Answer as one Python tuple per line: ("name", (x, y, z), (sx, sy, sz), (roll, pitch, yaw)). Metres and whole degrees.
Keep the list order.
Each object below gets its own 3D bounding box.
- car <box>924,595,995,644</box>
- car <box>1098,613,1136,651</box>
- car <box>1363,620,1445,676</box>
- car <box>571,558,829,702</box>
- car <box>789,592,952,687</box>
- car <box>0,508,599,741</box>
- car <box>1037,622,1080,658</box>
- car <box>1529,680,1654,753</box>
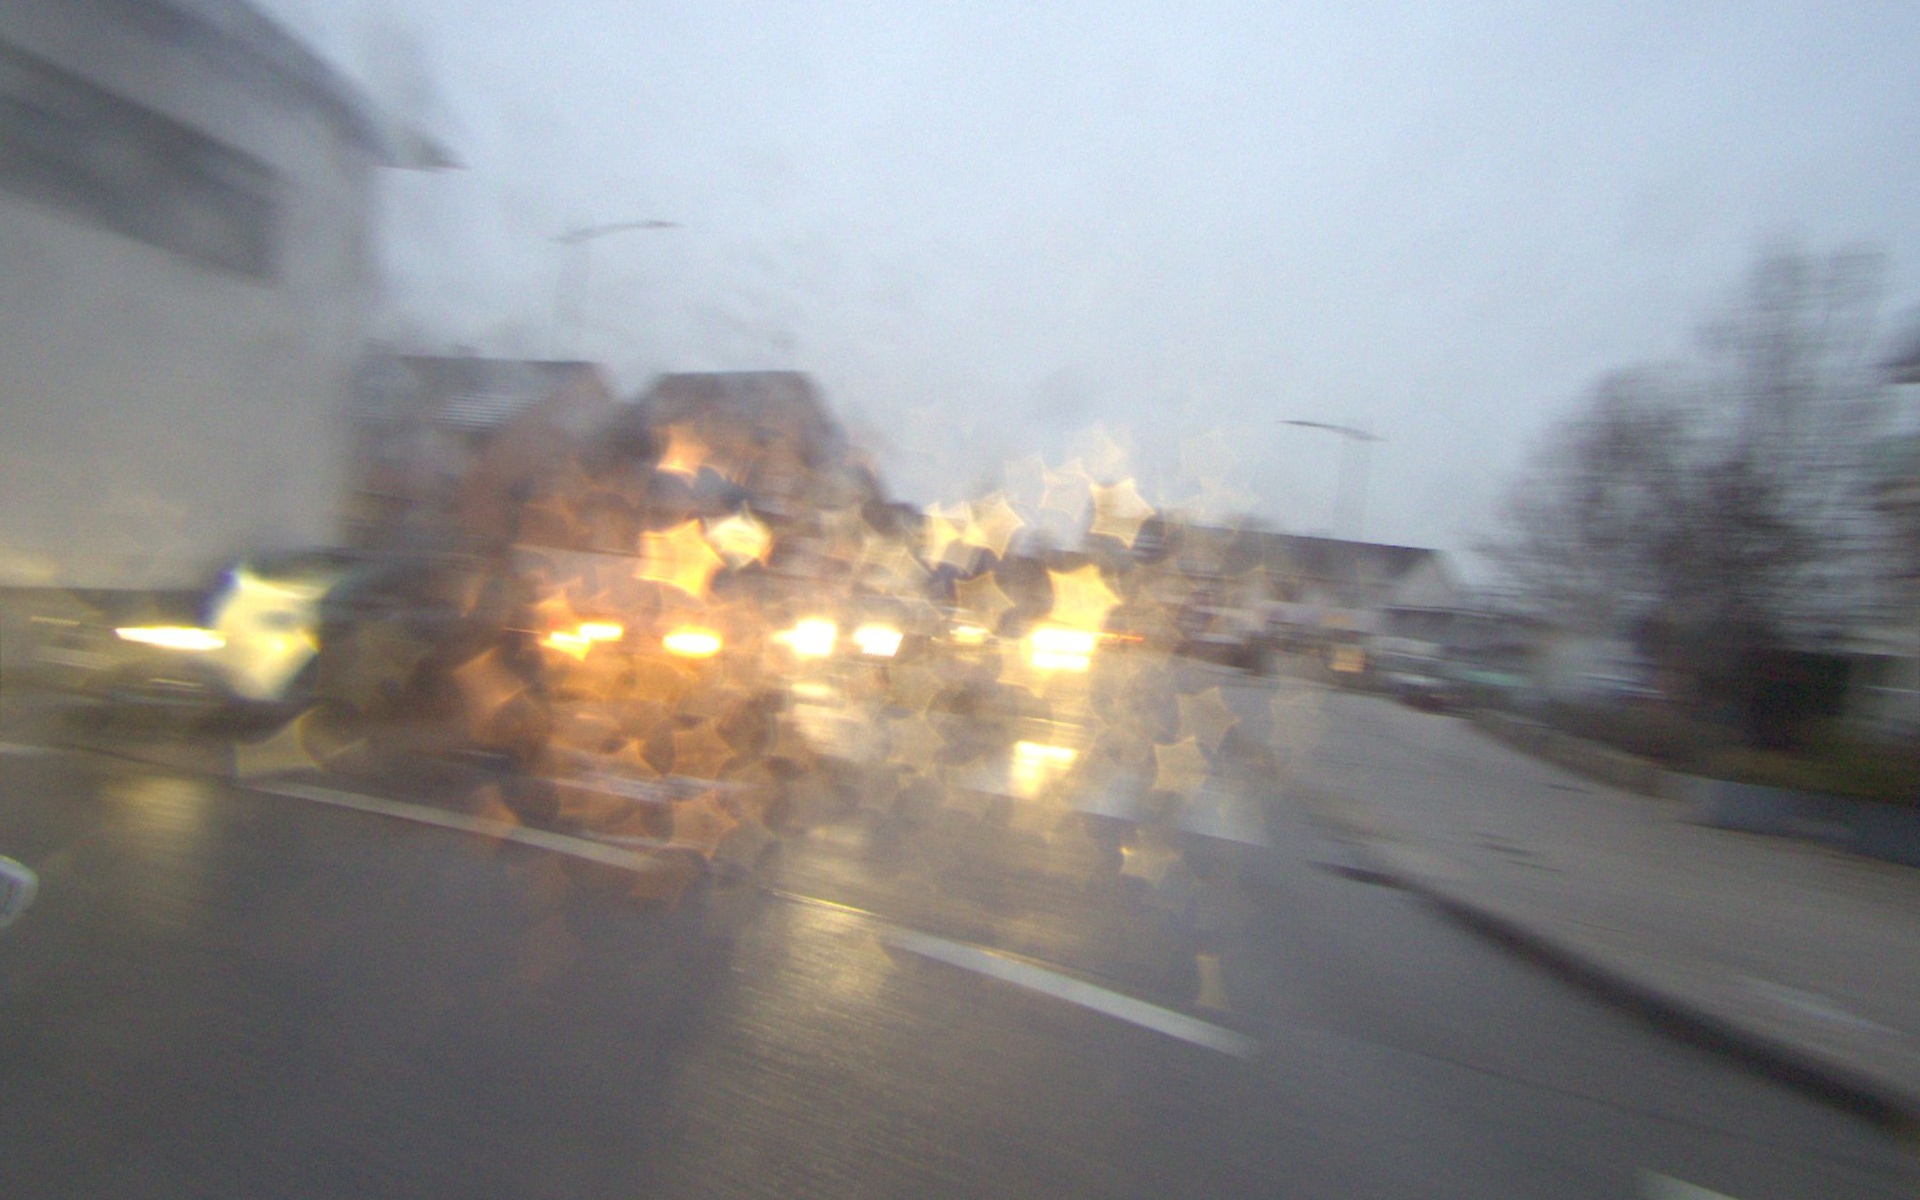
("car", (0.036, 0.754, 38.405), (1.641, 1.569, 3.718), (8, 0, 15))
("car", (9.409, 1.902, 60.594), (1.961, 2.039, 4.902), (4, -1, 7))
("car", (19.269, 2.079, 43.948), (2.172, 2.038, 4.861), (7, 0, 13))
("car", (-3.434, 0.433, 14.138), (1.664, 1.571, 4.002), (6, -1, 14))
("car", (-1.645, 0.791, 20.207), (1.665, 1.527, 4.258), (6, 0, 17))
("car", (-5.332, 0.219, 8.681), (1.816, 1.401, 4.235), (5, -1, 19))
("car", (4.939, 1.943, 49.850), (1.846, 1.471, 4.001), (8, 0, 7))
("car", (17.695, 3.204, 28.383), (1.683, 1.535, 3.769), (7, 0, 13))
